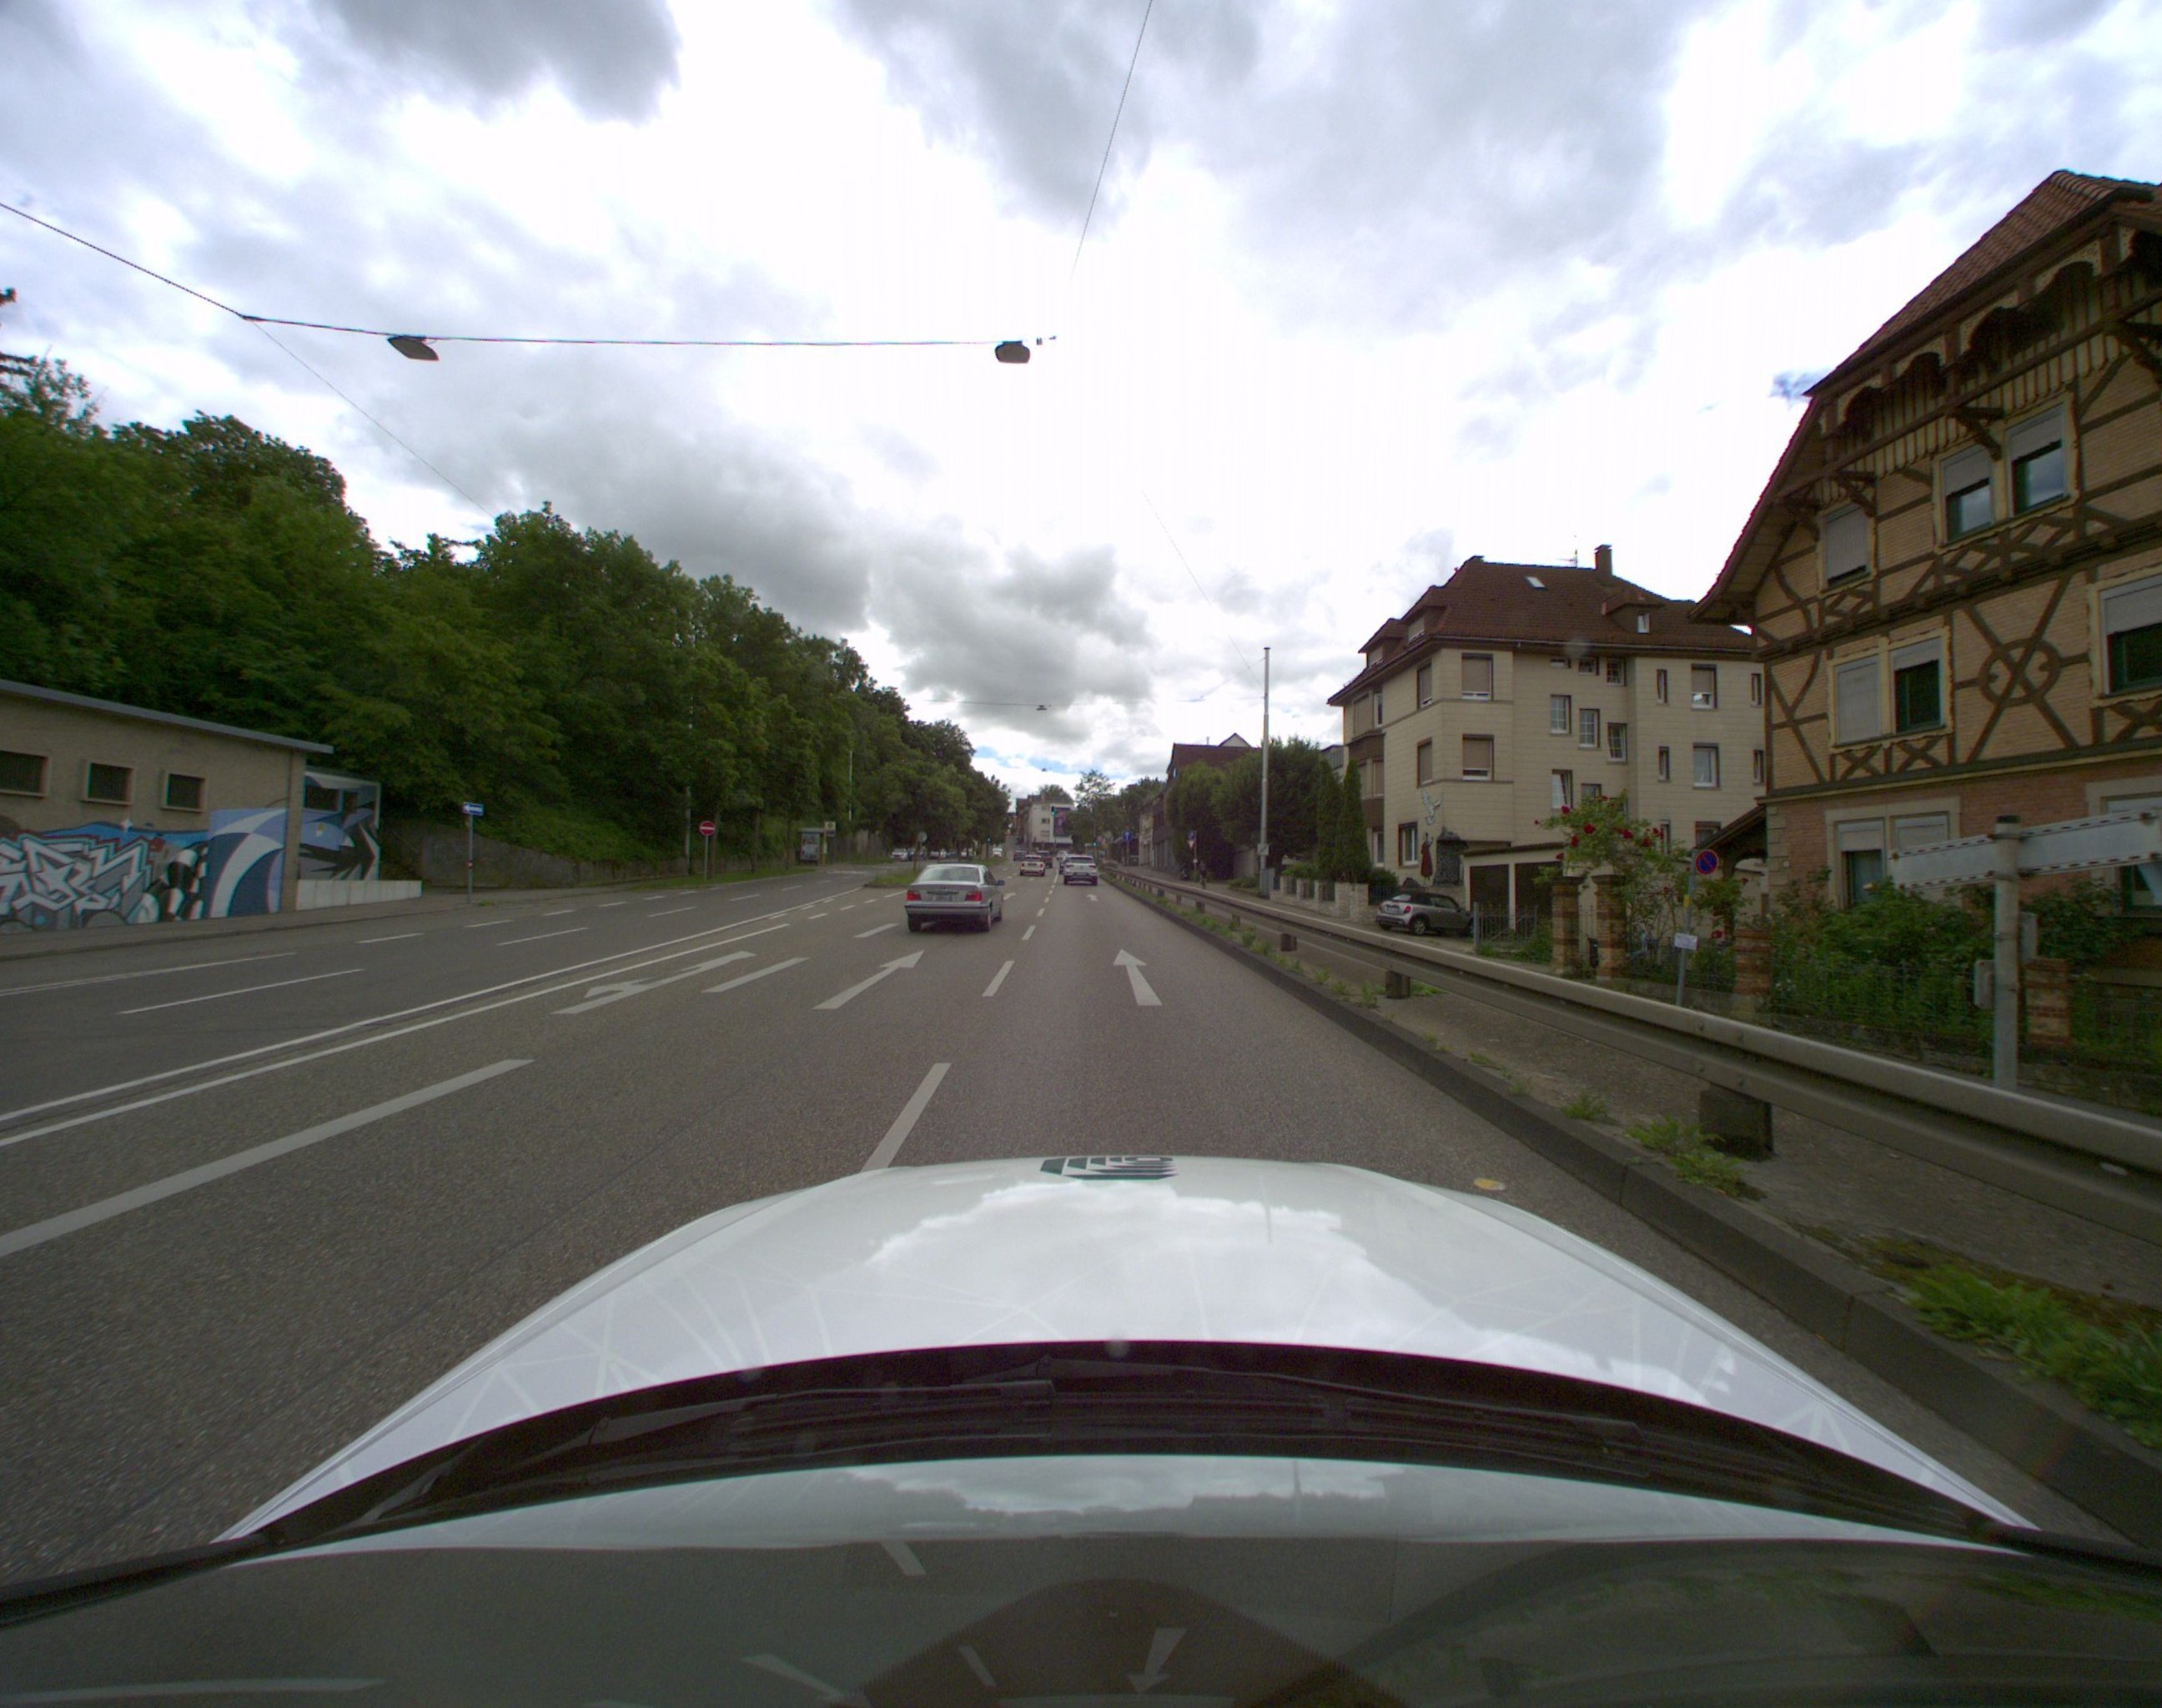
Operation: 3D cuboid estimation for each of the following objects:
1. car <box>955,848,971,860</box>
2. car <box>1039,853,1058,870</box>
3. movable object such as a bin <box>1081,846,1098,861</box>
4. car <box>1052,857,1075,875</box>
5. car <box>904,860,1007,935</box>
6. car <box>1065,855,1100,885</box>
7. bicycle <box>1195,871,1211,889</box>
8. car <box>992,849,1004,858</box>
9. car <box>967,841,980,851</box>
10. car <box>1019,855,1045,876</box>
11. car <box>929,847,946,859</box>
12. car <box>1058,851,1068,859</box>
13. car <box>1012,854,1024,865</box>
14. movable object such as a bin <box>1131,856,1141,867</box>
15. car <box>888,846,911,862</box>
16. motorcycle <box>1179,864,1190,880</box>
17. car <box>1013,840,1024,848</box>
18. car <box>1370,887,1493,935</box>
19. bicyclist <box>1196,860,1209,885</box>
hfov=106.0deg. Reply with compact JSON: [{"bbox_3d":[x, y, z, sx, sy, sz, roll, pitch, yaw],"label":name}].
[{"bbox_3d":[-17.345,0.005,120.120,1.855,1.670,4.275,3,1,-3],"label":"car"},{"bbox_3d":[-3.228,0.732,80.422,1.719,1.640,3.451,-1,-1,-4],"label":"car"},{"bbox_3d":[1.159,-0.073,108.063,1.892,1.870,1.523,3,0,-10],"label":"movable object such as a bin"},{"bbox_3d":[-1.382,0.920,63.463,1.719,1.376,3.452,-2,-1,-3],"label":"car"},{"bbox_3d":[-2.598,0.845,17.823,1.630,1.383,4.617,0,0,-1],"label":"car"},{"bbox_3d":[0.047,0.827,43.514,1.792,1.519,3.454,-2,-1,-1],"label":"car"},{"bbox_3d":[7.681,1.617,51.364,0.565,1.063,2.003,-2,1,-4],"label":"bicycle"},{"bbox_3d":[-15.177,-0.098,149.133,1.856,1.541,4.274,3,1,-4],"label":"car"},{"bbox_3d":[-18.263,-1.414,138.775,1.856,1.541,4.274,3,1,-4],"label":"car"},{"bbox_3d":[-3.421,0.787,57.132,1.719,1.376,3.453,-2,-1,-3],"label":"car"},{"bbox_3d":[-20.282,-0.185,115.239,1.856,1.593,4.274,3,1,-4],"label":"car"},{"bbox_3d":[-3.314,0.225,146.274,1.718,1.376,3.453,-2,-1,-2],"label":"car"},{"bbox_3d":[-9.401,0.889,122.363,1.719,1.583,3.451,-1,-1,-4],"label":"car"},{"bbox_3d":[7.152,0.954,105.164,1.192,1.408,0.710,3,0,-2],"label":"movable object such as a bin"},{"bbox_3d":[-20.684,-0.034,92.898,1.856,1.670,4.274,3,1,-4],"label":"car"},{"bbox_3d":[7.934,1.356,62.472,0.606,1.162,2.040,0,1,-1],"label":"motorcycle"},{"bbox_3d":[-16.106,-2.504,210.686,2.503,2.013,5.179,3,1,-1],"label":"car"},{"bbox_3d":[11.936,1.935,27.761,3.612,1.435,1.694,3,-1,-18],"label":"car"},{"bbox_3d":[7.650,1.185,51.289,0.565,1.525,0.958,-2,0,-4],"label":"bicyclist"}]
